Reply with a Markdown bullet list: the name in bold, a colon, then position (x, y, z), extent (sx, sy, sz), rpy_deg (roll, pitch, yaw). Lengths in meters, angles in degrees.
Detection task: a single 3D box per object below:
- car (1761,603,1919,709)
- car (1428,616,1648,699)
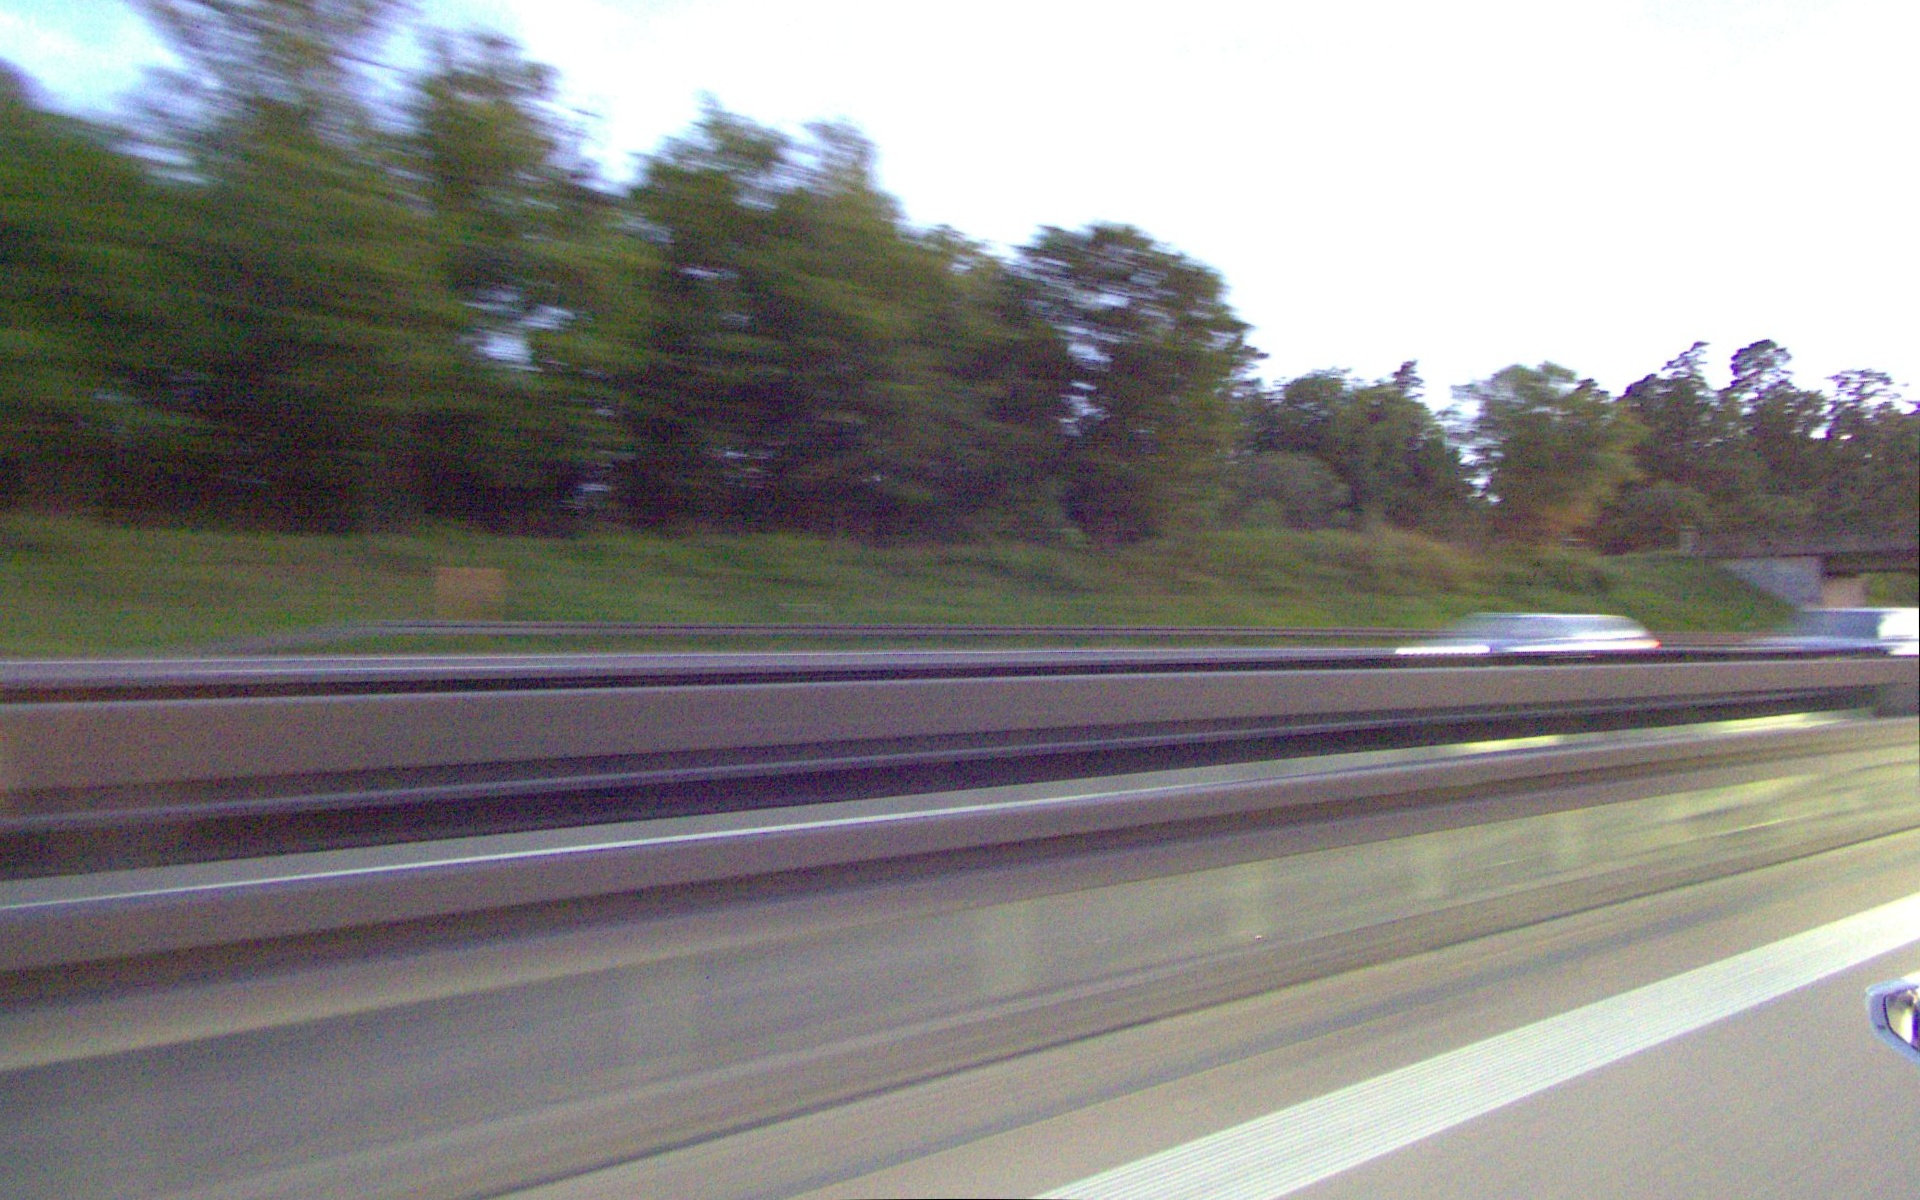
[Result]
- **car**: position (17.718, 0.987, 19.378), extent (4.774, 1.821, 1.984), rpy_deg (0, 0, -31)
- **car**: position (11.530, 1.061, 19.969), extent (4.398, 1.463, 1.866), rpy_deg (0, 0, -30)
